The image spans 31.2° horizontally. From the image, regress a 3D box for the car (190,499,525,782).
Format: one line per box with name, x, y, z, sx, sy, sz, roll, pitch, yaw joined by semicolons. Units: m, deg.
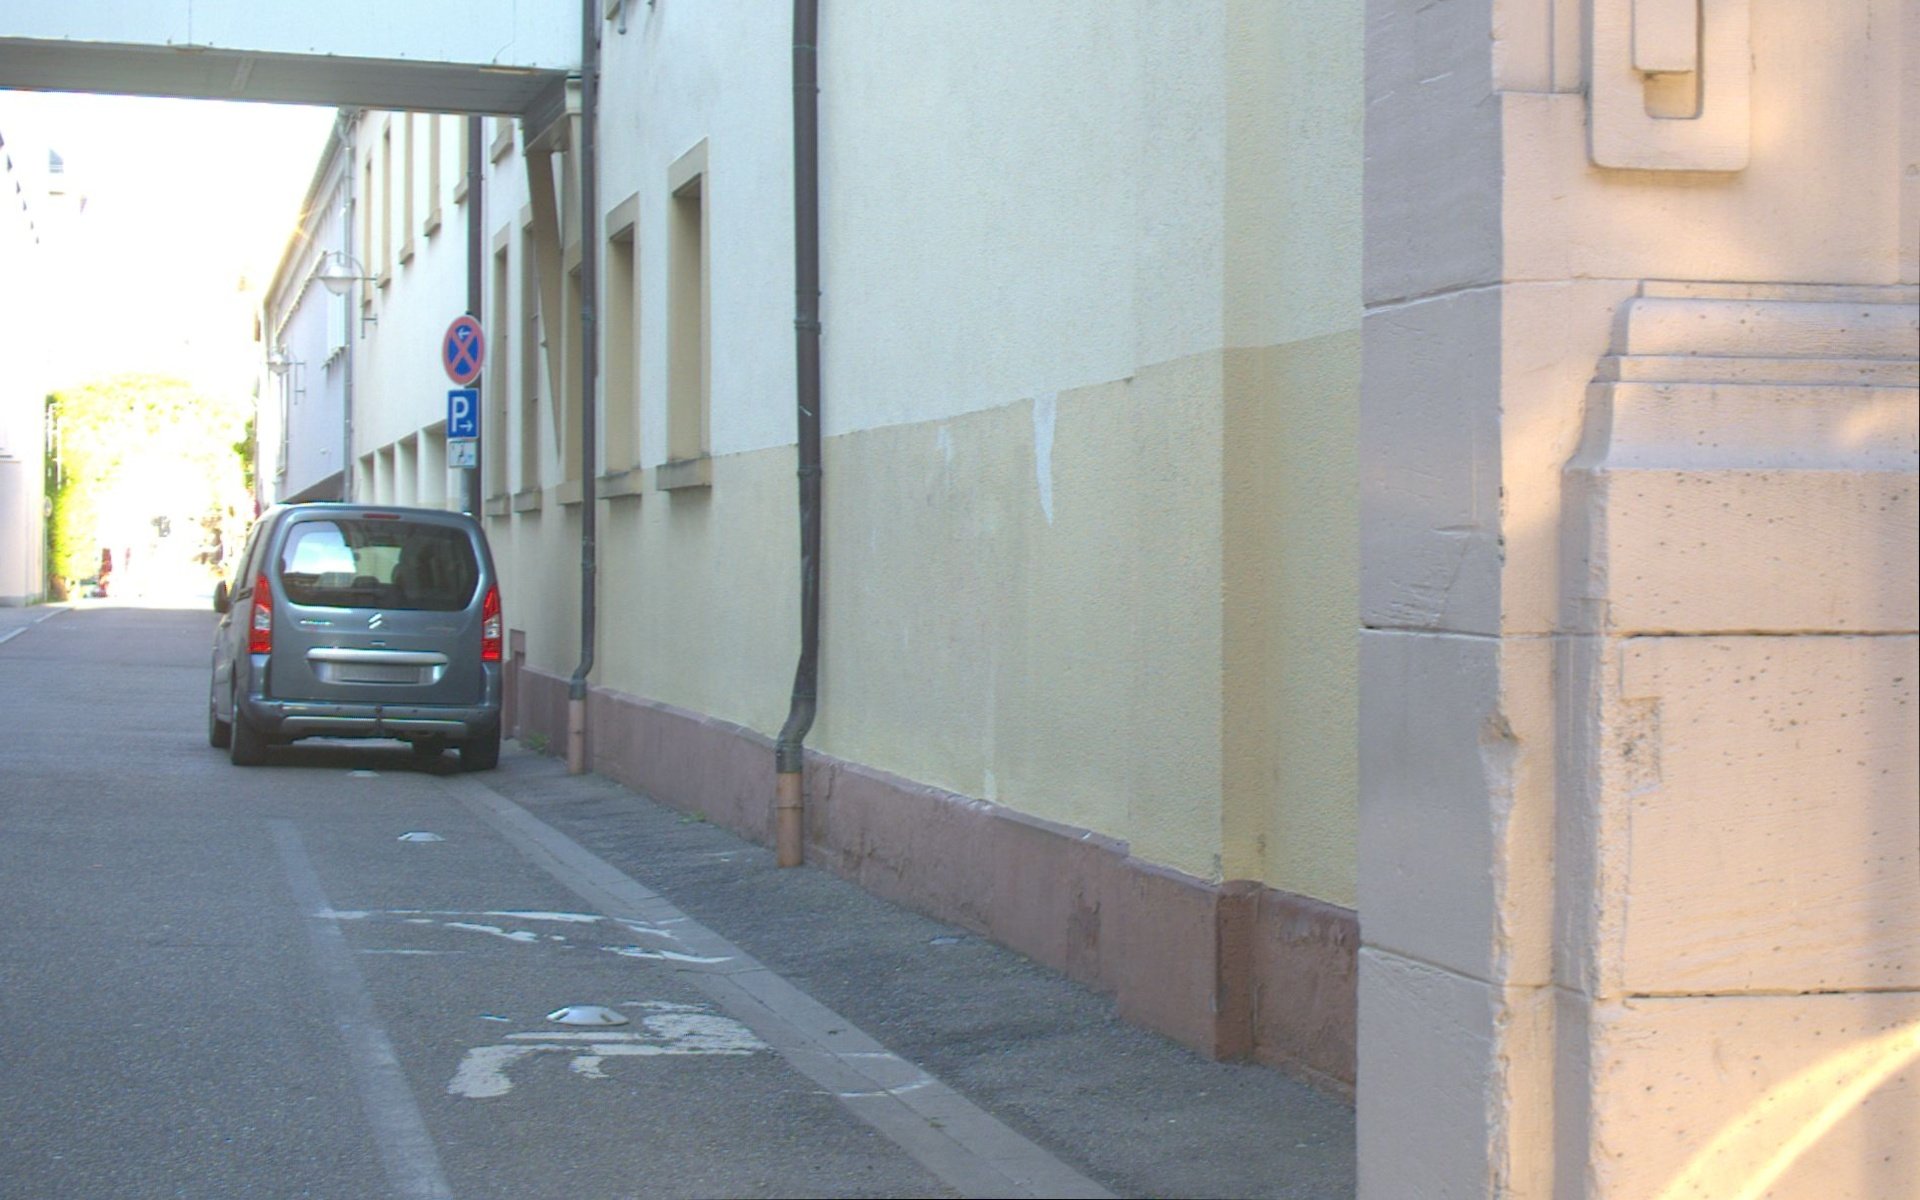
car;-4.378;0.244;24.488;1.854;1.750;4.163;4;0;-16
